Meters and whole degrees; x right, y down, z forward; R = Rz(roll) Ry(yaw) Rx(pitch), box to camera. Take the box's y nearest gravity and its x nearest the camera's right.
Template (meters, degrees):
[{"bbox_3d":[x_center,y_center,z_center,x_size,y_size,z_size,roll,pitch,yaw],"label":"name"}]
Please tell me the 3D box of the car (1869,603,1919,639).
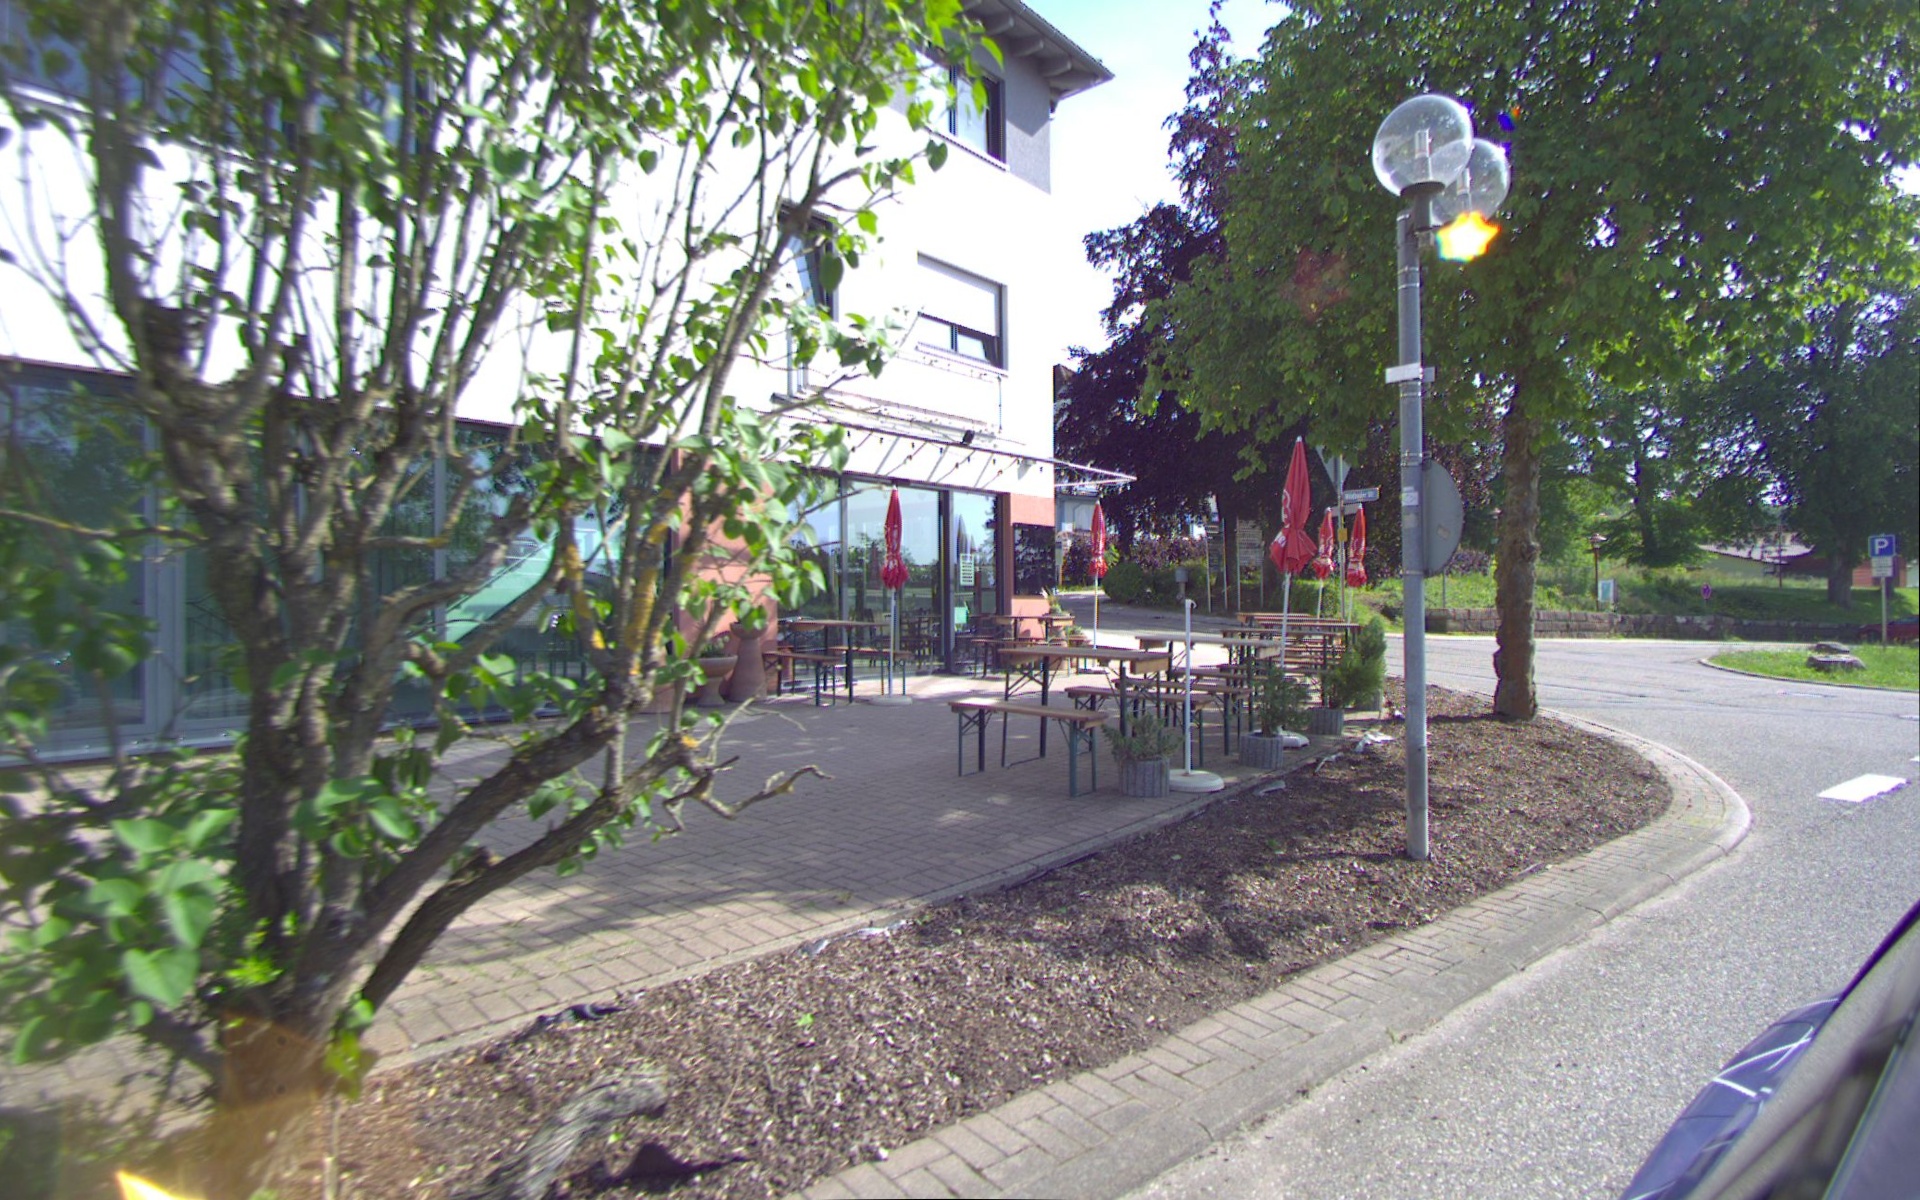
[{"bbox_3d":[41.304,0.922,42.614,1.666,1.446,4.276,1,1,-15],"label":"car"}]
